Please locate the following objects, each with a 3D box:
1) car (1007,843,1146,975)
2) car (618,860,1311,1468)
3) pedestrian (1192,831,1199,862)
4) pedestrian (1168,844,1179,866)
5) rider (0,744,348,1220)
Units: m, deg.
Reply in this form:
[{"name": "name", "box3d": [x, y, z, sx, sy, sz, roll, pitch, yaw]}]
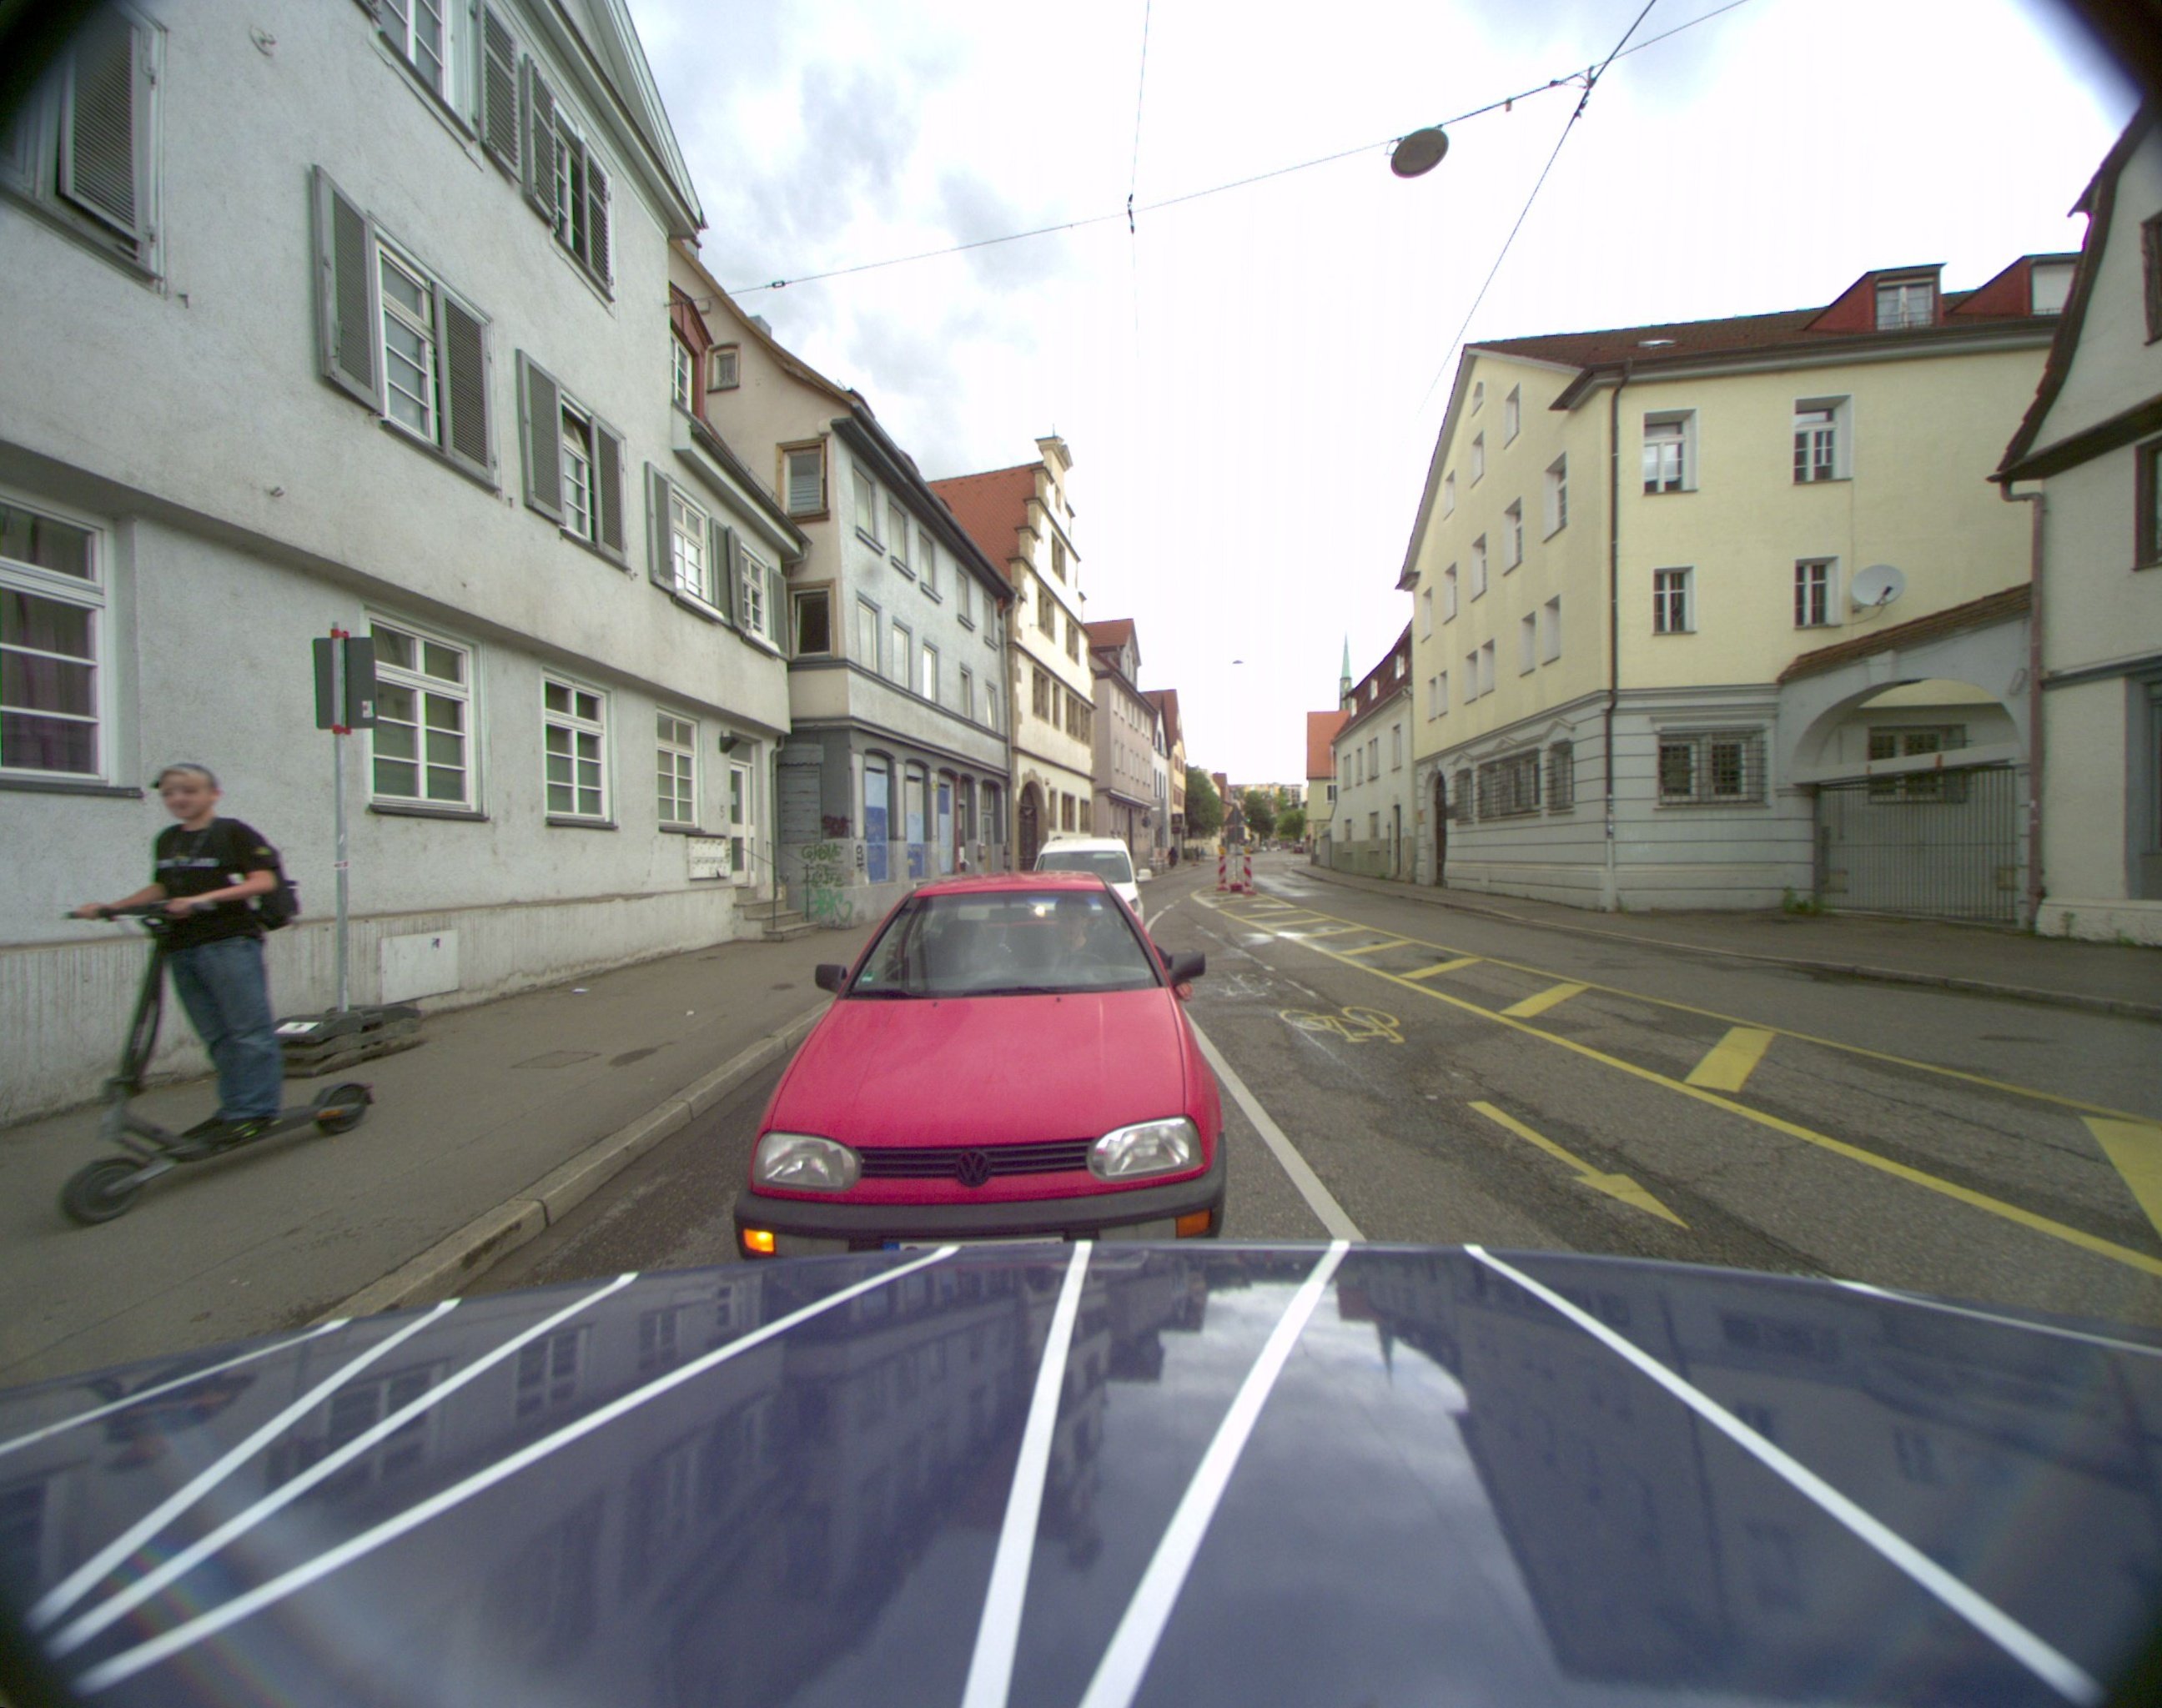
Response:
[{"name": "car", "box3d": [0.025, 0.702, 12.164, 1.814, 1.695, 4.256, -1, 1, 2]}, {"name": "car", "box3d": [-0.287, 0.851, 4.016, 1.792, 1.418, 3.998, -2, 2, 0]}, {"name": "pedestrian", "box3d": [9.630, -0.620, 63.692, 0.495, 2.513, 0.746, -1, 1, 12]}, {"name": "pedestrian", "box3d": [6.635, 0.068, 54.612, 0.725, 1.604, 0.649, -1, 0, 13]}, {"name": "rider", "box3d": [-3.978, 0.498, 3.329, 0.719, 1.837, 0.797, -1, 1, 1]}]
